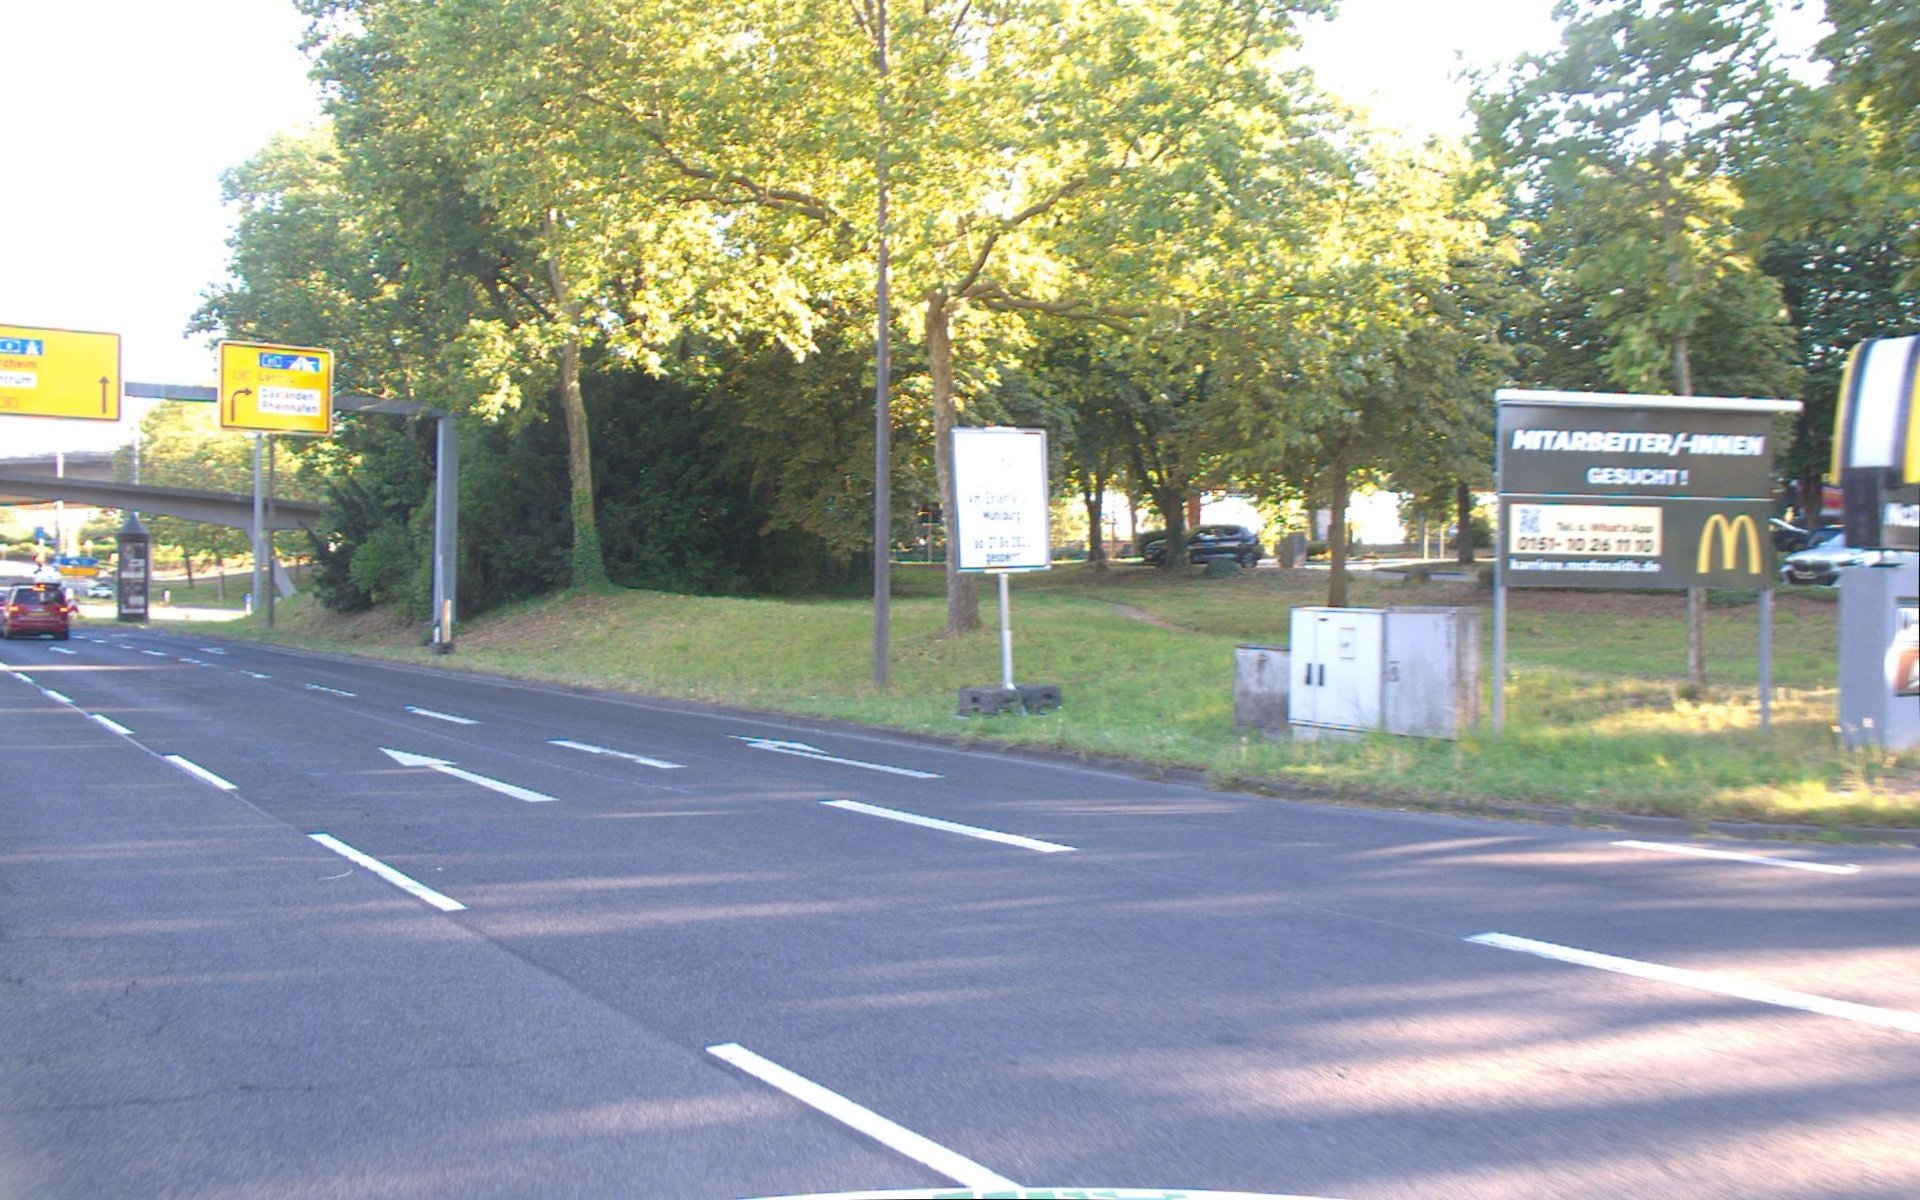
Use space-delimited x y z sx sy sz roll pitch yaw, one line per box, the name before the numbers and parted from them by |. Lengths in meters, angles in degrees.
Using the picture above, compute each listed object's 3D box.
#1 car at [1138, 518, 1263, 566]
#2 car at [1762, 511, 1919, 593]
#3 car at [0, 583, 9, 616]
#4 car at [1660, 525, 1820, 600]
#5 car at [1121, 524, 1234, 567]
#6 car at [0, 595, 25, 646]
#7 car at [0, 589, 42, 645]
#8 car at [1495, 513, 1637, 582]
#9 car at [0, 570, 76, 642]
car | 8.189 -1.974 56.187 3.942 1.579 1.791 -1 1 -29
car | 20.295 -1.080 36.885 4.830 1.736 1.981 -2 2 -29
car | -43.166 -0.013 73.023 1.776 1.407 4.425 -2 2 -33
car | 18.972 -0.919 40.178 4.181 1.717 1.804 -2 1 -37
car | 8.338 -2.091 63.378 3.927 1.579 1.798 -1 1 -20
car | -36.116 0.750 61.789 1.776 1.780 3.954 -2 2 -33
car | -32.721 0.554 56.779 1.776 1.780 4.192 -2 2 -33
car | 15.937 -1.373 43.423 4.190 1.717 1.800 -2 1 -43
car | -28.885 0.151 51.717 1.777 2.141 3.953 -2 2 -34
